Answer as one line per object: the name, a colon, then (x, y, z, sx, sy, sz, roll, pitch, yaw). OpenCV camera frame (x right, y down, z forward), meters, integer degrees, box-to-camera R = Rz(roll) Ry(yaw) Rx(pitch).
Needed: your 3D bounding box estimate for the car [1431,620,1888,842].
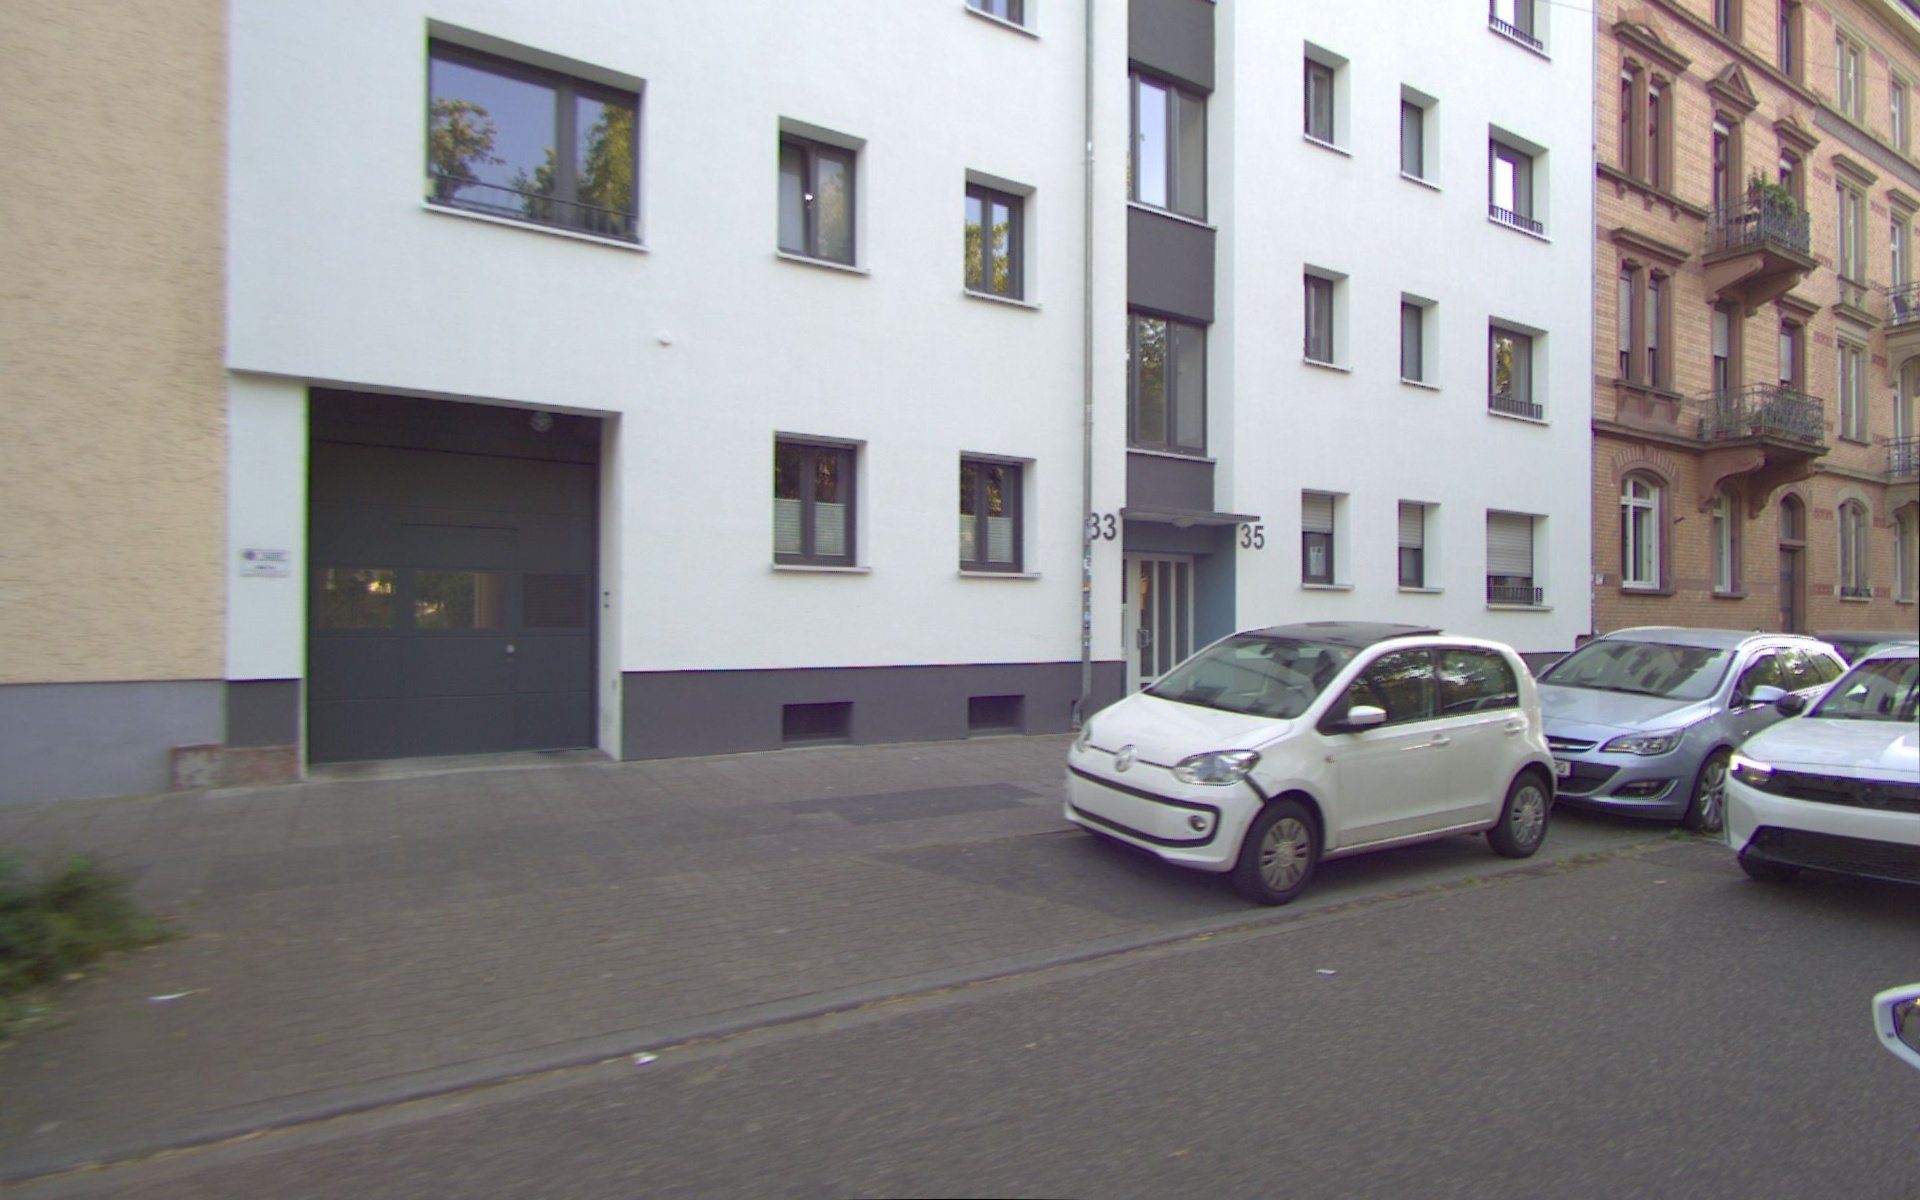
car: (6.287, 0.982, 8.918, 4.233, 1.491, 1.660, 1, 2, -30)

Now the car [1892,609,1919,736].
car: (15.189, 1.026, 14.309, 4.152, 1.728, 1.743, 1, 0, -31)

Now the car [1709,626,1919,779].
car: (10.664, 1.073, 11.698, 3.950, 1.471, 1.609, 1, 1, -29)

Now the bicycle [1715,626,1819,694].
bicycle: (15.687, 1.129, 19.512, 2.484, 1.223, 0.733, 0, 0, -30)

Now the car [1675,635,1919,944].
car: (6.268, 0.952, 6.063, 3.953, 1.449, 1.661, 0, -3, -30)

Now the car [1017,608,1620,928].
car: (2.495, 0.879, 6.746, 3.954, 1.528, 1.659, 1, 2, -31)
